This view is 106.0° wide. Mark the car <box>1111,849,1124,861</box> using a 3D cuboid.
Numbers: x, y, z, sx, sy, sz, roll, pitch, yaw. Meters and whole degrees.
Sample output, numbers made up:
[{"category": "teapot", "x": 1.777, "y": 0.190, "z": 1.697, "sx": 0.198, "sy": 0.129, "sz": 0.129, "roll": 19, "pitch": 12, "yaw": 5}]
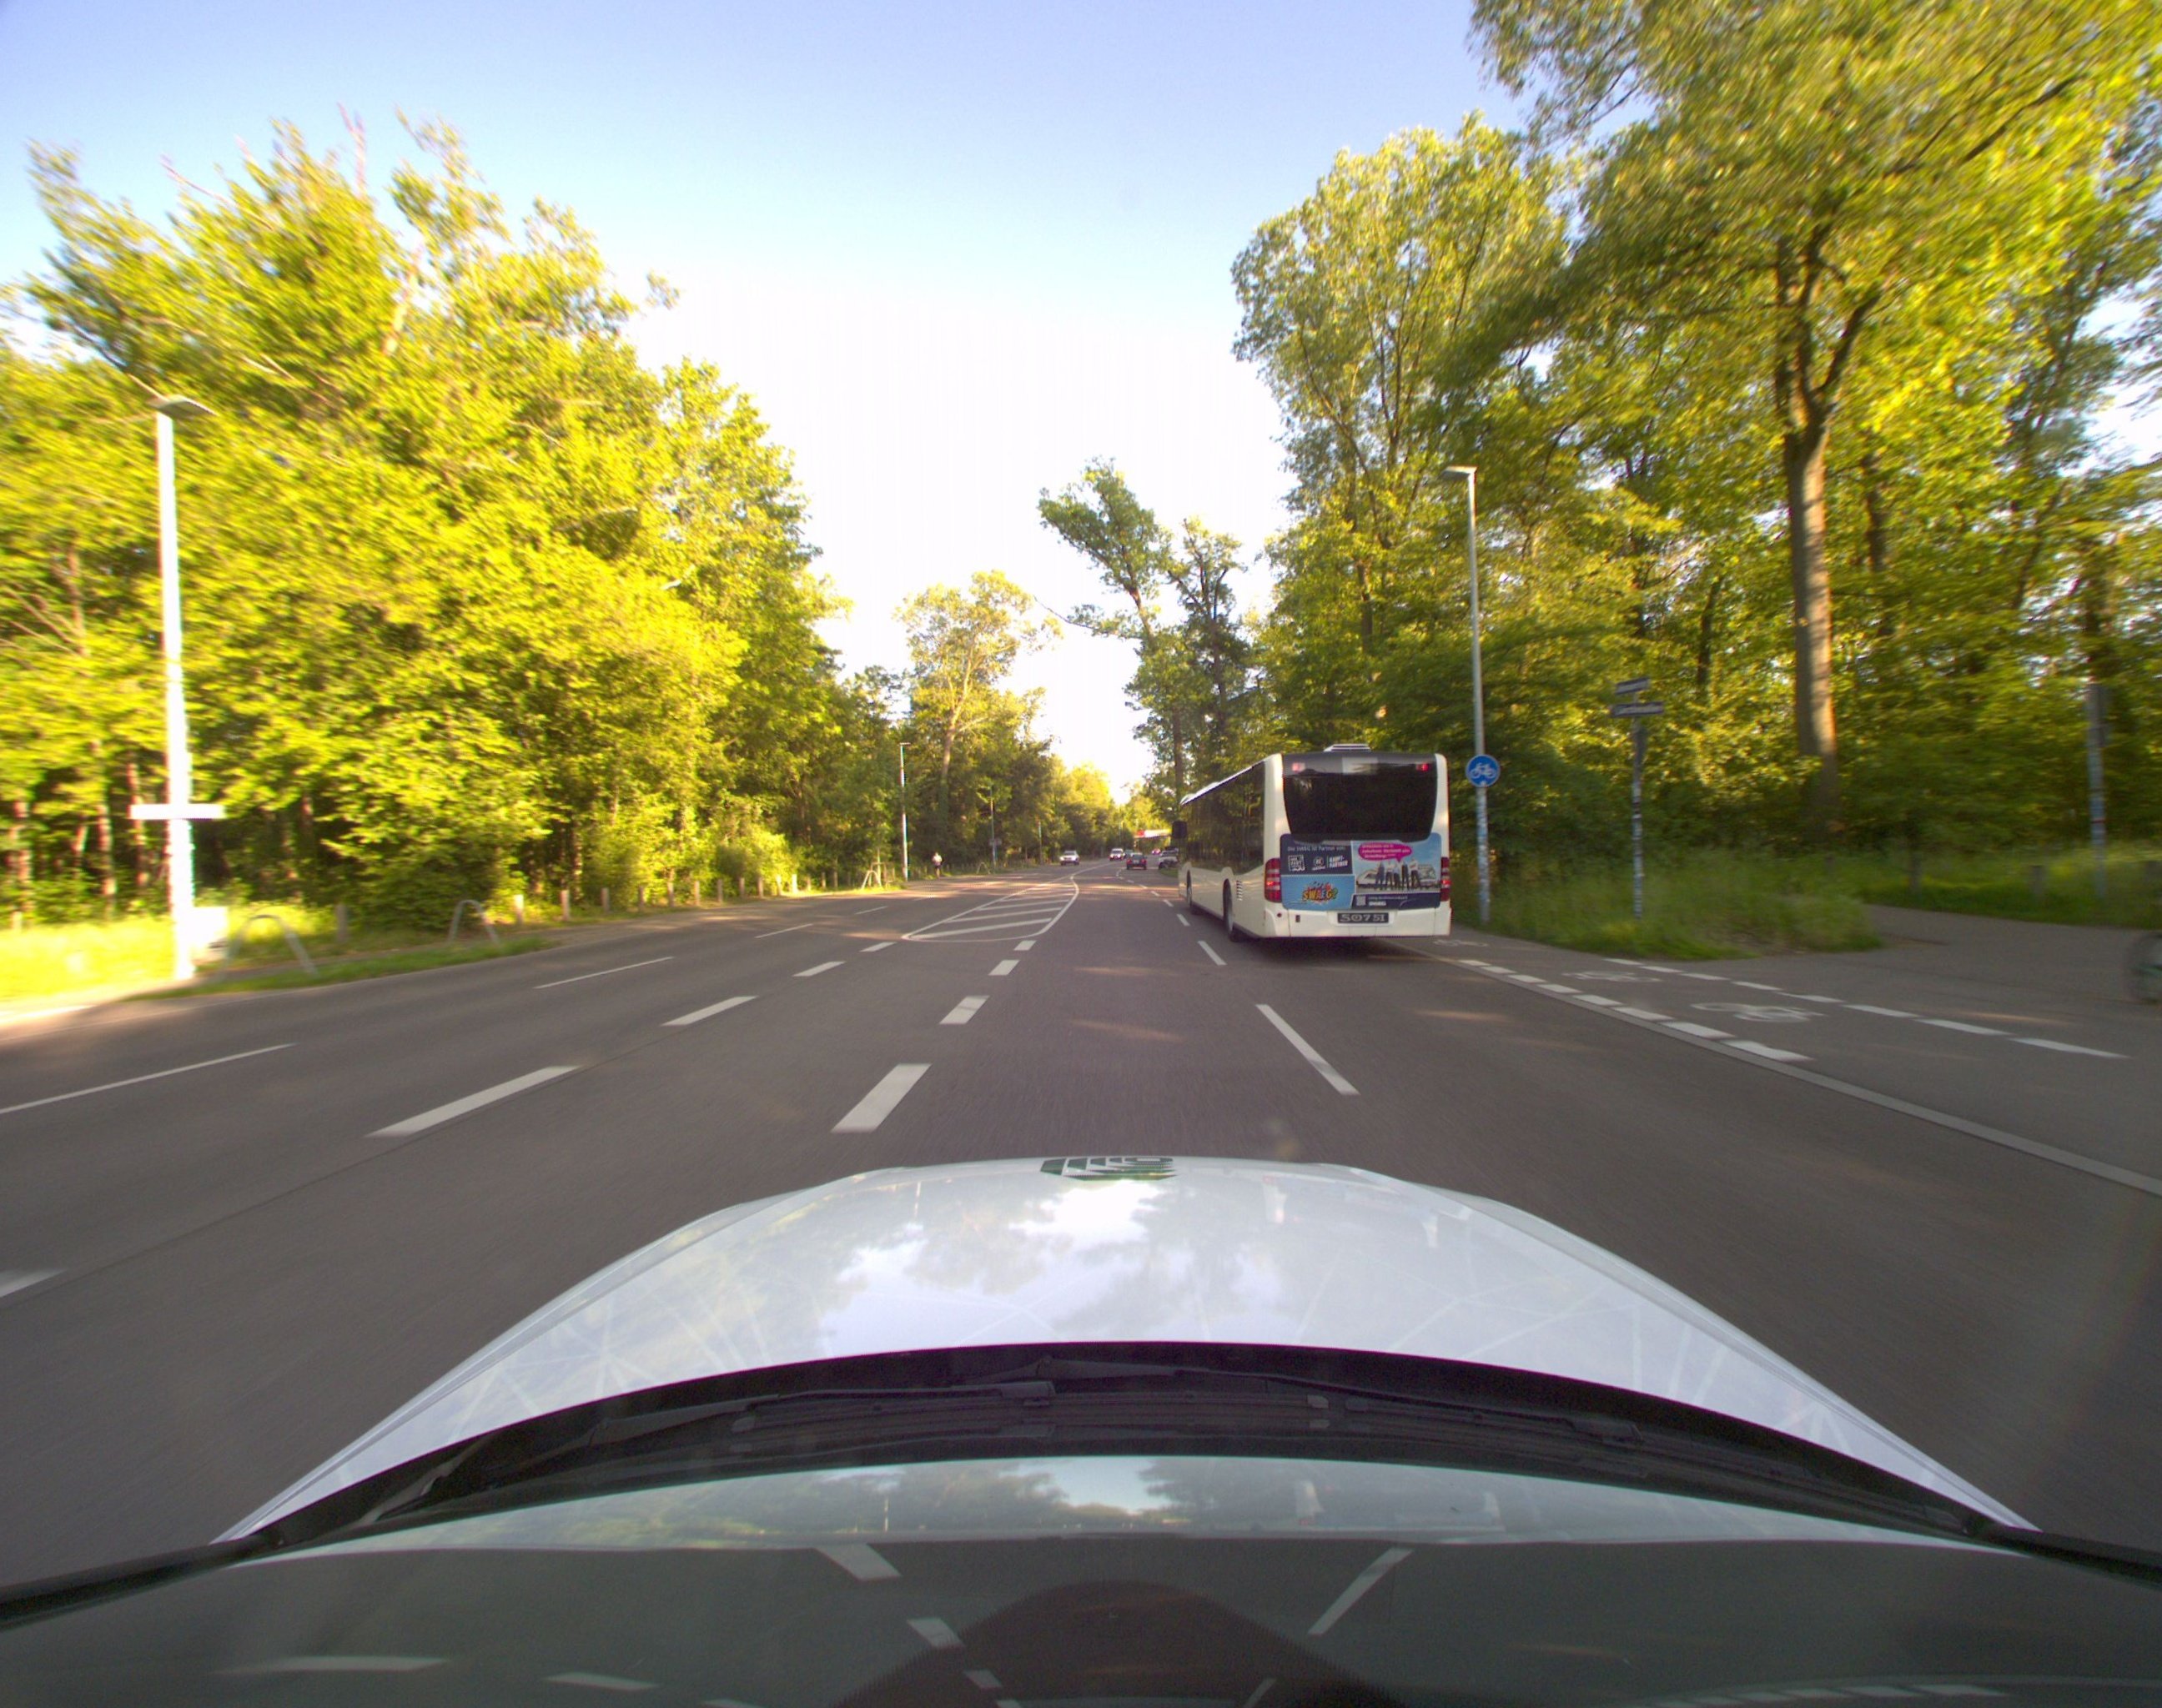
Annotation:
[{"category": "car", "x": 5.476, "y": 0.231, "z": 121.929, "sx": 1.855, "sy": 1.729, "sz": 4.002, "roll": -1, "pitch": -1, "yaw": 2}]

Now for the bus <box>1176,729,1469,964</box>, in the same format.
[{"category": "bus", "x": 3.850, "y": -0.040, "z": 16.668, "sx": 2.680, "sy": 3.043, "sz": 12.043, "roll": -1, "pitch": -1, "yaw": 1}]

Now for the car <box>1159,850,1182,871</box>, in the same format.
[{"category": "car", "x": 7.473, "y": 0.528, "z": 67.725, "sx": 1.621, "sy": 1.659, "sz": 4.144, "roll": -1, "pitch": -1, "yaw": 11}]

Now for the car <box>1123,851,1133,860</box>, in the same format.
[{"category": "car", "x": 8.420, "y": 0.288, "z": 145.761, "sx": 1.855, "sy": 1.565, "sz": 4.004, "roll": -1, "pitch": -1, "yaw": 3}]

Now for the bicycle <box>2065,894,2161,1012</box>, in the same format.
[{"category": "bicycle", "x": 9.628, "y": 0.878, "z": 7.017, "sx": 0.546, "sy": 0.967, "sz": 1.764, "roll": -1, "pitch": 0, "yaw": 16}]

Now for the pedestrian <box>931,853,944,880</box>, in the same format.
[{"category": "pedestrian", "x": -9.993, "y": 0.878, "z": 56.736, "sx": 0.776, "sy": 1.812, "sz": 0.770, "roll": -1, "pitch": 0, "yaw": 1}]

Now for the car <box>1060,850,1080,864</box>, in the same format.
[{"category": "car", "x": -1.261, "y": 0.409, "z": 93.204, "sx": 1.854, "sy": 1.537, "sz": 4.138, "roll": -1, "pitch": -1, "yaw": 5}]

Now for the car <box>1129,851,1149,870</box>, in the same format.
[{"category": "car", "x": 5.104, "y": 0.579, "z": 71.187, "sx": 1.624, "sy": 1.547, "sz": 4.138, "roll": -1, "pitch": -1, "yaw": 5}]

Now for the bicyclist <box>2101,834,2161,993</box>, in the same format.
[{"category": "bicyclist", "x": 9.684, "y": 0.516, "z": 7.137, "sx": 0.476, "sy": 1.385, "sz": 0.881, "roll": -1, "pitch": -1, "yaw": 16}]
